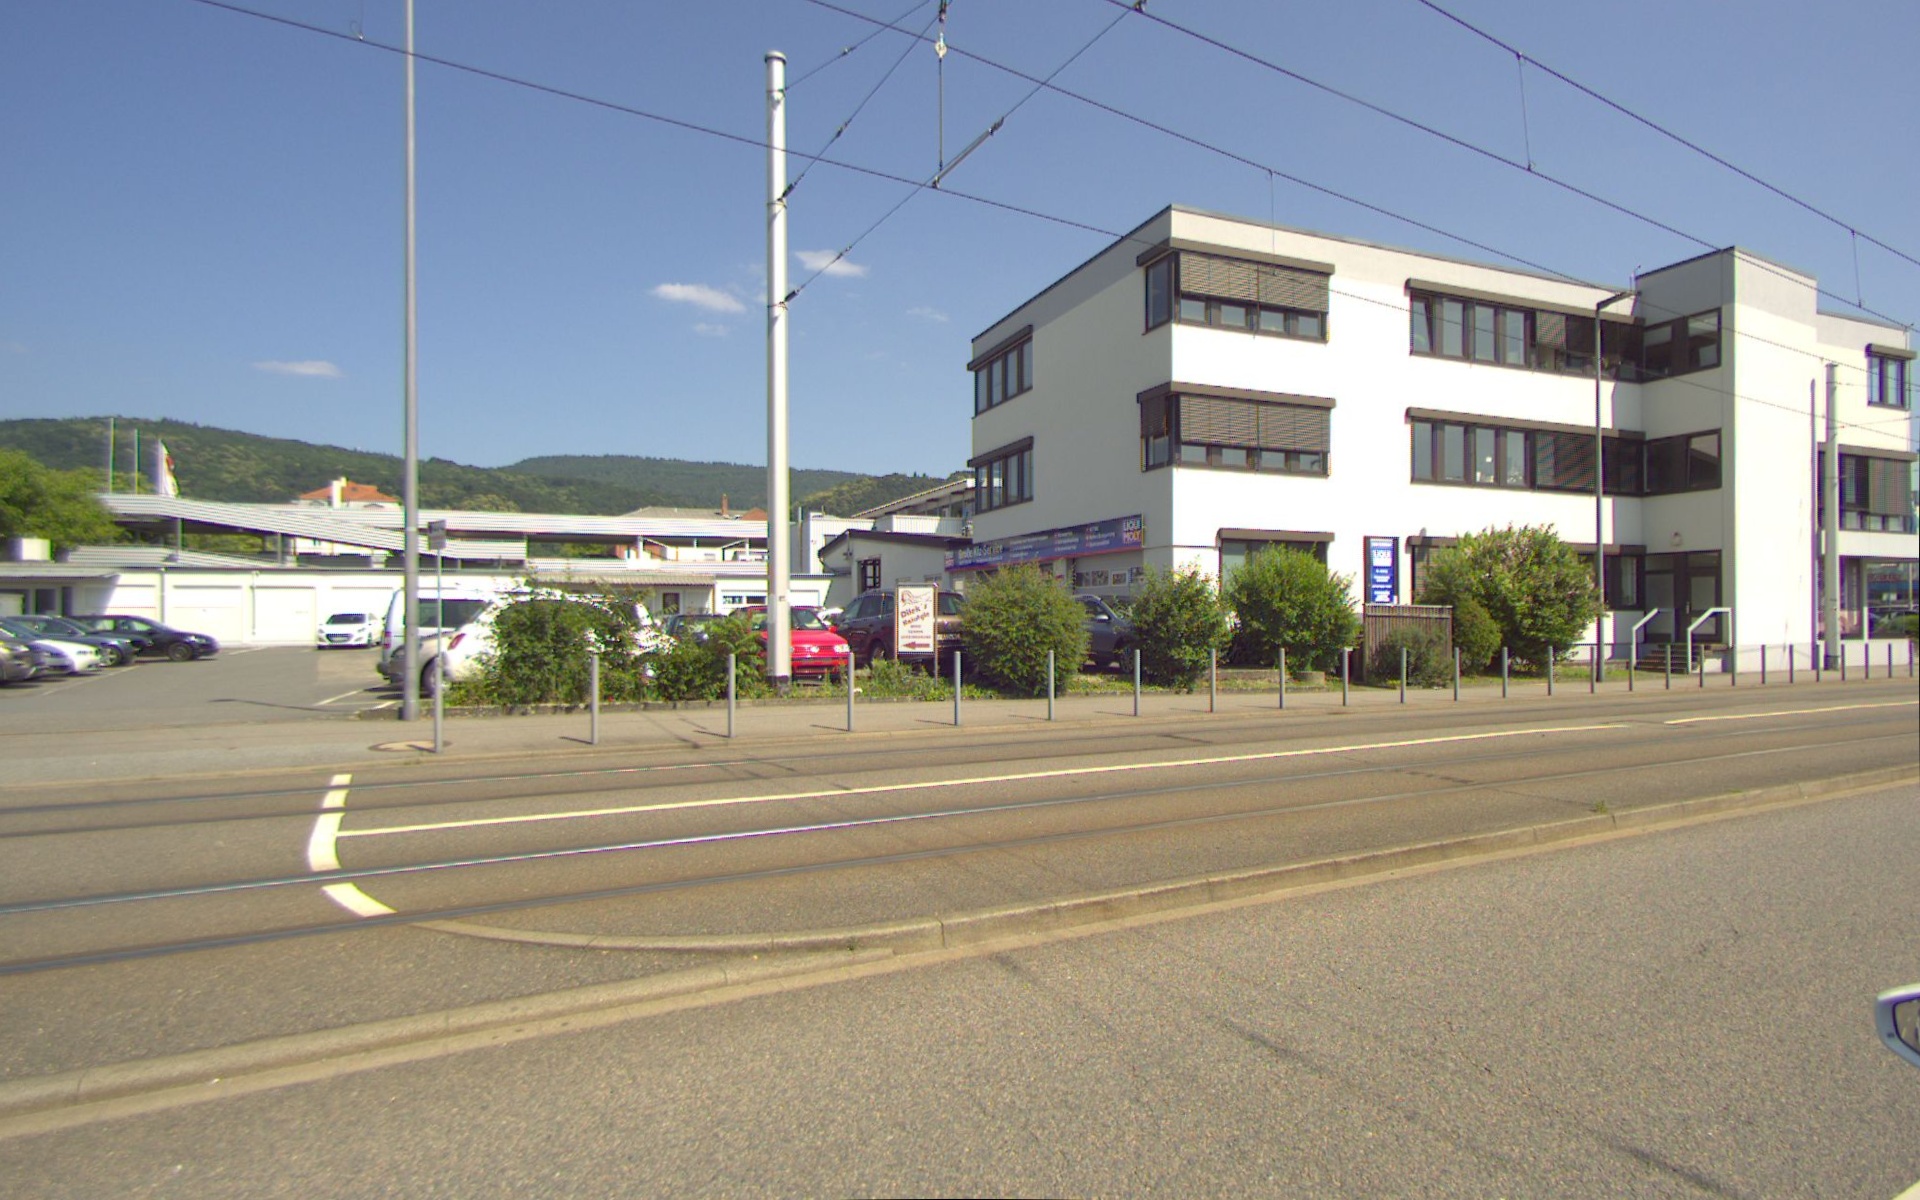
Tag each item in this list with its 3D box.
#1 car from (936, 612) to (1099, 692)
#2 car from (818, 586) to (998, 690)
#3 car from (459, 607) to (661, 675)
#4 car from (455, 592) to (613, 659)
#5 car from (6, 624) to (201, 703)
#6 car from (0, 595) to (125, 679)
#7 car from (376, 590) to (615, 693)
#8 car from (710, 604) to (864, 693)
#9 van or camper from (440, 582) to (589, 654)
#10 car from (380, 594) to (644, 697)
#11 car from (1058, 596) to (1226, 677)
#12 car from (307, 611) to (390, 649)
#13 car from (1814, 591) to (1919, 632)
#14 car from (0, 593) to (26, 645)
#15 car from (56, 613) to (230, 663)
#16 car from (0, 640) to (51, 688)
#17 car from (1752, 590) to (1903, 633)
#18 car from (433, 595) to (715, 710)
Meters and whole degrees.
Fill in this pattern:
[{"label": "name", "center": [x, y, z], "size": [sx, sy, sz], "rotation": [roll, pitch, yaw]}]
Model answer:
[{"label": "car", "center": [1.063, 0.971, 19.886], "size": [1.532, 1.441, 3.367], "rotation": [1, -1, -33]}, {"label": "car", "center": [-1.106, 0.673, 18.982], "size": [1.974, 1.728, 3.973], "rotation": [1, -1, -27]}, {"label": "car", "center": [-8.686, 0.880, 22.043], "size": [3.941, 1.376, 1.838], "rotation": [1, -1, -22]}, {"label": "car", "center": [-13.620, 0.819, 32.263], "size": [4.516, 2.040, 2.046], "rotation": [1, -1, -24]}, {"label": "car", "center": [-25.497, 1.846, 30.099], "size": [3.944, 2.041, 1.989], "rotation": [-2, 1, -24]}, {"label": "car", "center": [-24.159, 0.940, 25.591], "size": [3.944, 2.041, 1.989], "rotation": [-2, 1, -24]}, {"label": "car", "center": [-8.732, 0.765, 19.232], "size": [3.941, 1.808, 1.990], "rotation": [1, -1, -22]}, {"label": "car", "center": [-3.163, 0.787, 17.765], "size": [1.725, 1.388, 3.811], "rotation": [1, -1, -26]}, {"label": "van or camper", "center": [-15.149, 0.608, 34.296], "size": [4.541, 2.336, 1.770], "rotation": [1, 0, -26]}, {"label": "car", "center": [-7.455, 0.743, 17.047], "size": [3.877, 1.588, 1.847], "rotation": [1, -1, -22]}, {"label": "car", "center": [3.765, 0.721, 21.294], "size": [1.459, 1.549, 3.603], "rotation": [1, -1, -33]}, {"label": "car", "center": [-24.529, 1.187, 40.426], "size": [1.968, 1.435, 3.984], "rotation": [1, -1, -18]}, {"label": "car", "center": [37.208, 0.446, 40.364], "size": [1.973, 1.539, 3.974], "rotation": [-2, 1, -25]}, {"label": "car", "center": [-31.037, 0.563, 30.182], "size": [3.953, 1.576, 1.984], "rotation": [1, -1, -31]}, {"label": "car", "center": [-26.348, 1.208, 32.582], "size": [3.943, 1.532, 1.989], "rotation": [1, -1, -23]}, {"label": "car", "center": [-20.955, 1.357, 21.290], "size": [2.292, 0.959, 1.278], "rotation": [1, -1, -32]}, {"label": "car", "center": [33.451, 0.448, 38.839], "size": [1.973, 1.584, 3.974], "rotation": [1, -1, -25]}, {"label": "car", "center": [-5.783, 0.754, 15.284], "size": [3.781, 1.562, 1.732], "rotation": [1, -1, -23]}]
